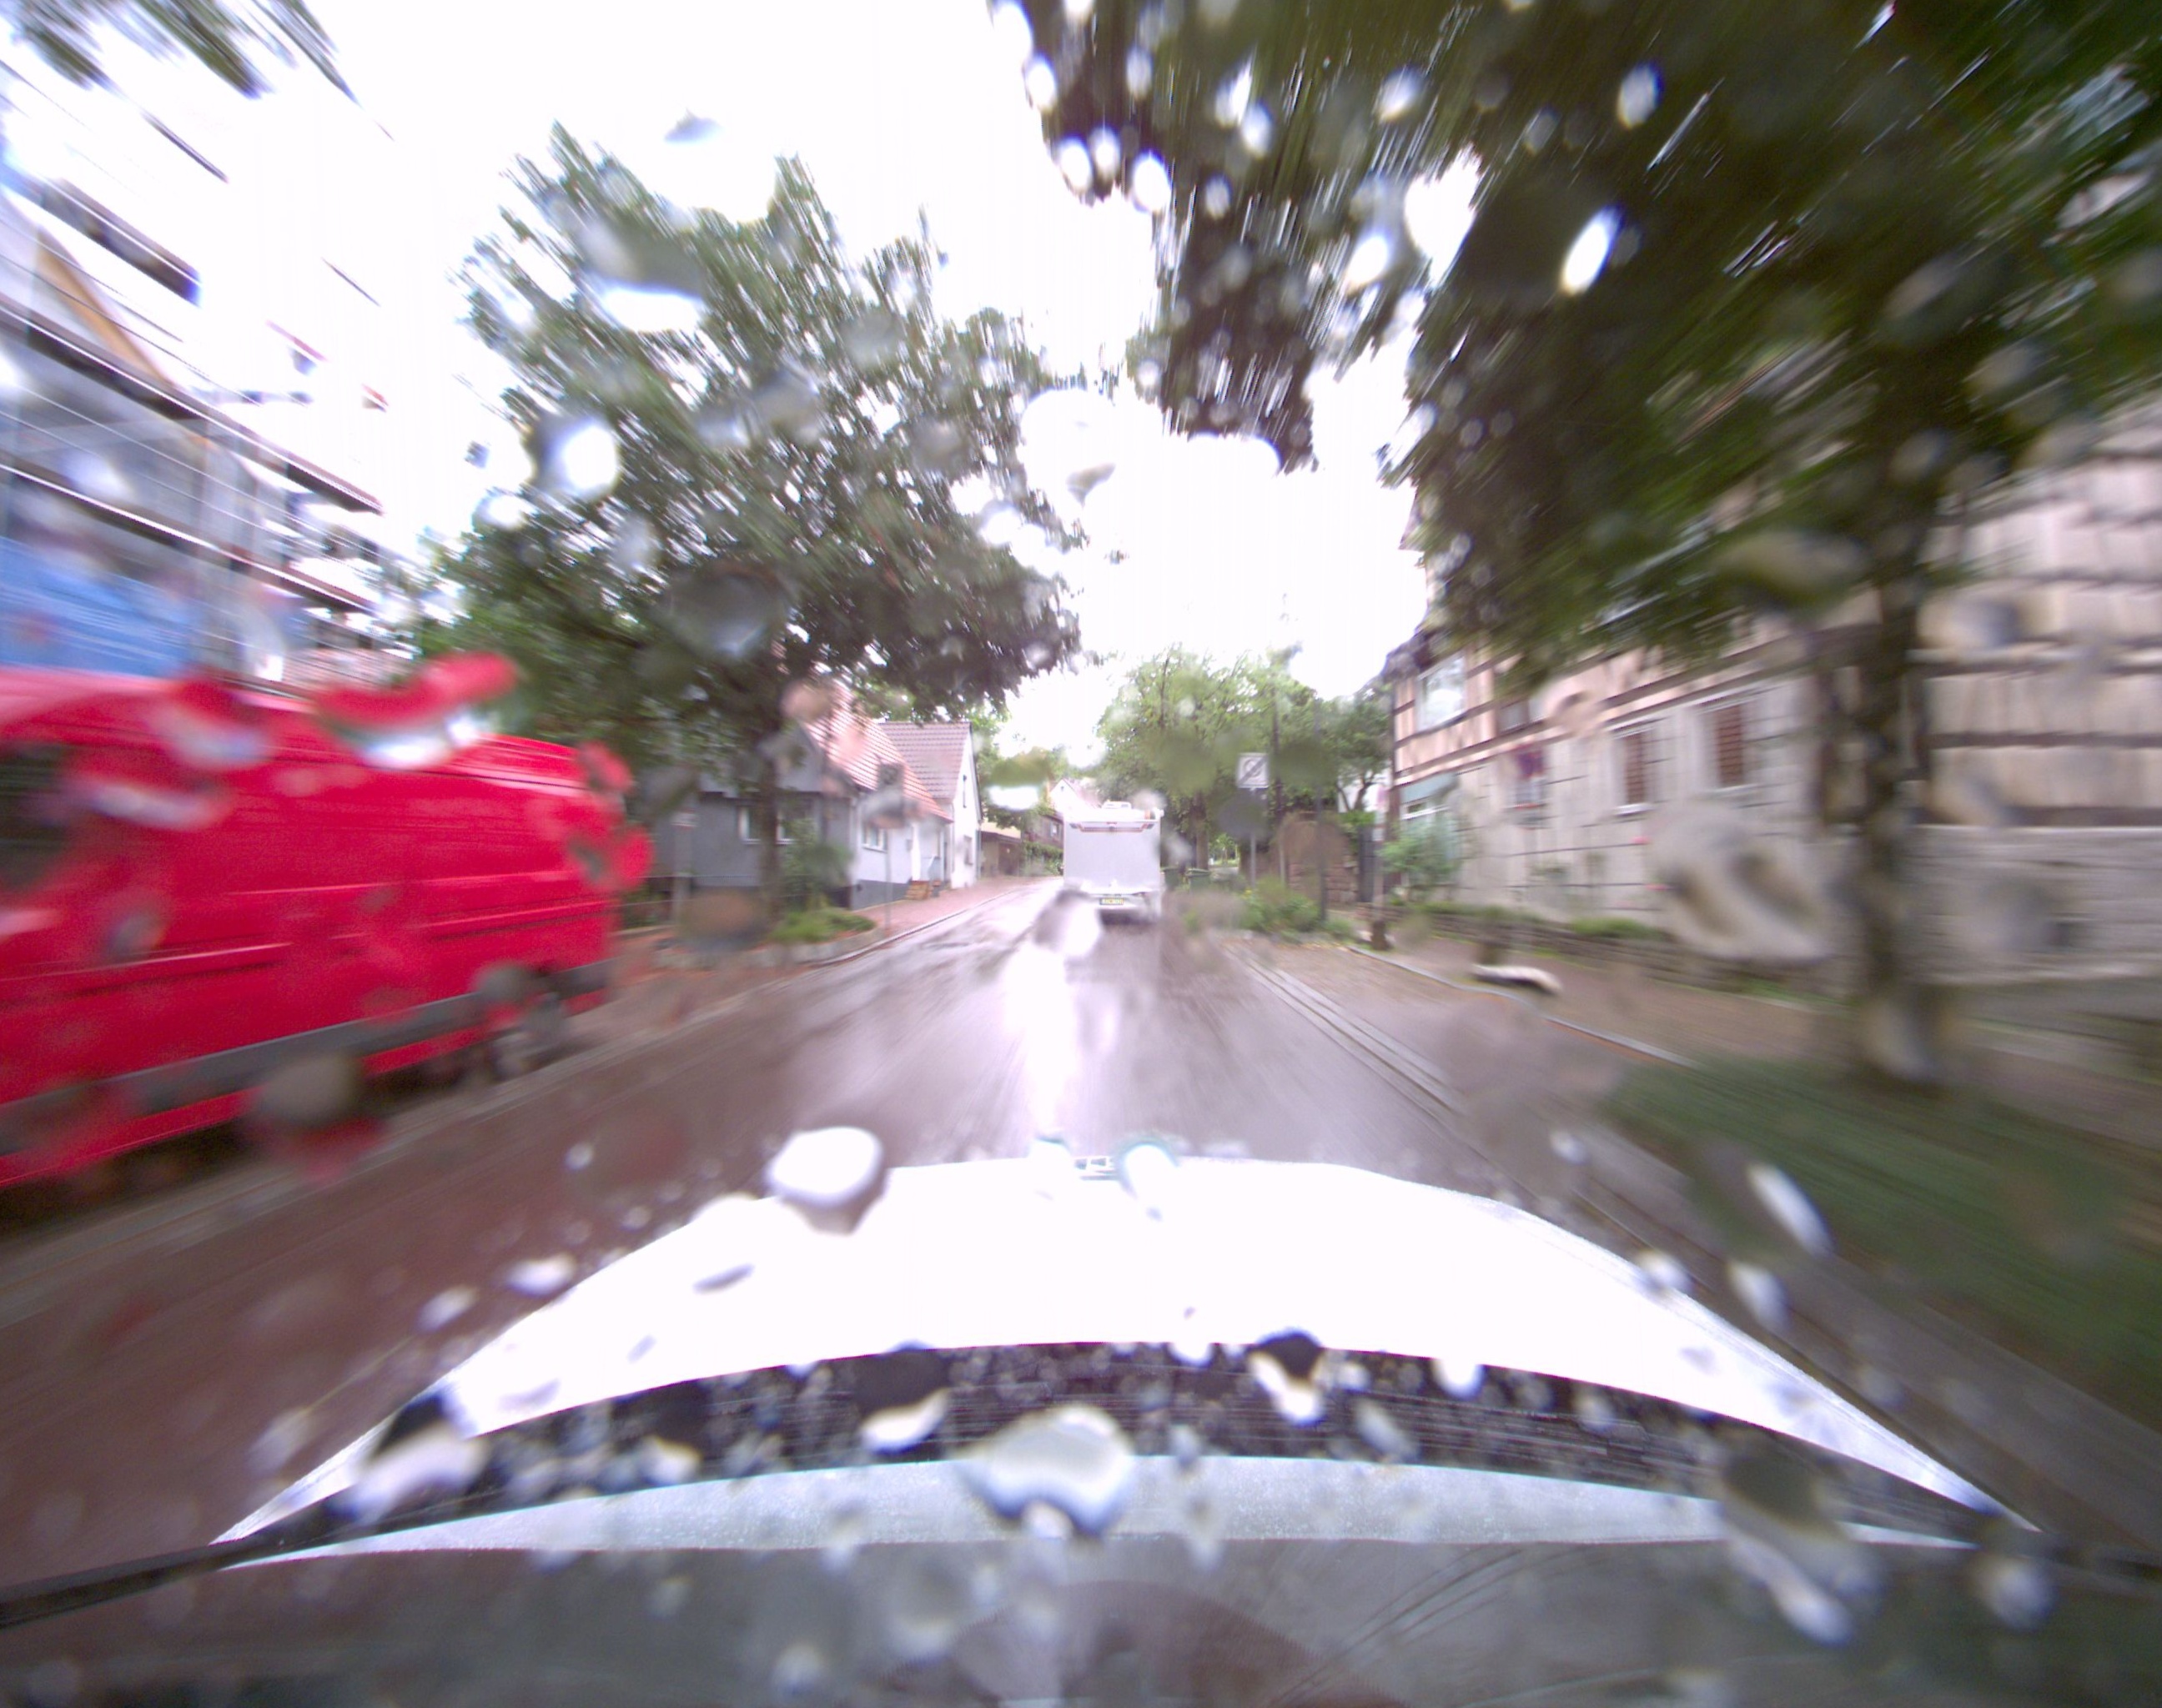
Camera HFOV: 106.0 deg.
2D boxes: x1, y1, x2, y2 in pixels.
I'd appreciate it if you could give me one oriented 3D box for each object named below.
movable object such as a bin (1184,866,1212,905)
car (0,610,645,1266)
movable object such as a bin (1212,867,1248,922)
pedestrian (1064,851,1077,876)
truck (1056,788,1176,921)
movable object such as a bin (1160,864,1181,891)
[{"bbox_3d":[3.500,0.938,24.425,0.721,1.143,0.703,0,-1,-1],"label":"movable object such as a bin"},{"bbox_3d":[-5.158,0.312,4.269,2.293,2.483,5.791,0,0,4],"label":"car"},{"bbox_3d":[3.380,0.914,18.542,0.718,1.213,0.727,0,-1,2],"label":"movable object such as a bin"},{"bbox_3d":[-0.771,0.722,60.936,0.788,1.868,0.920,0,-1,15],"label":"pedestrian"},{"bbox_3d":[0.869,0.008,21.381,2.685,2.986,6.238,0,0,1],"label":"truck"},{"bbox_3d":[3.805,0.981,34.737,0.766,1.107,0.885,-2,-1,2],"label":"movable object such as a bin"}]
